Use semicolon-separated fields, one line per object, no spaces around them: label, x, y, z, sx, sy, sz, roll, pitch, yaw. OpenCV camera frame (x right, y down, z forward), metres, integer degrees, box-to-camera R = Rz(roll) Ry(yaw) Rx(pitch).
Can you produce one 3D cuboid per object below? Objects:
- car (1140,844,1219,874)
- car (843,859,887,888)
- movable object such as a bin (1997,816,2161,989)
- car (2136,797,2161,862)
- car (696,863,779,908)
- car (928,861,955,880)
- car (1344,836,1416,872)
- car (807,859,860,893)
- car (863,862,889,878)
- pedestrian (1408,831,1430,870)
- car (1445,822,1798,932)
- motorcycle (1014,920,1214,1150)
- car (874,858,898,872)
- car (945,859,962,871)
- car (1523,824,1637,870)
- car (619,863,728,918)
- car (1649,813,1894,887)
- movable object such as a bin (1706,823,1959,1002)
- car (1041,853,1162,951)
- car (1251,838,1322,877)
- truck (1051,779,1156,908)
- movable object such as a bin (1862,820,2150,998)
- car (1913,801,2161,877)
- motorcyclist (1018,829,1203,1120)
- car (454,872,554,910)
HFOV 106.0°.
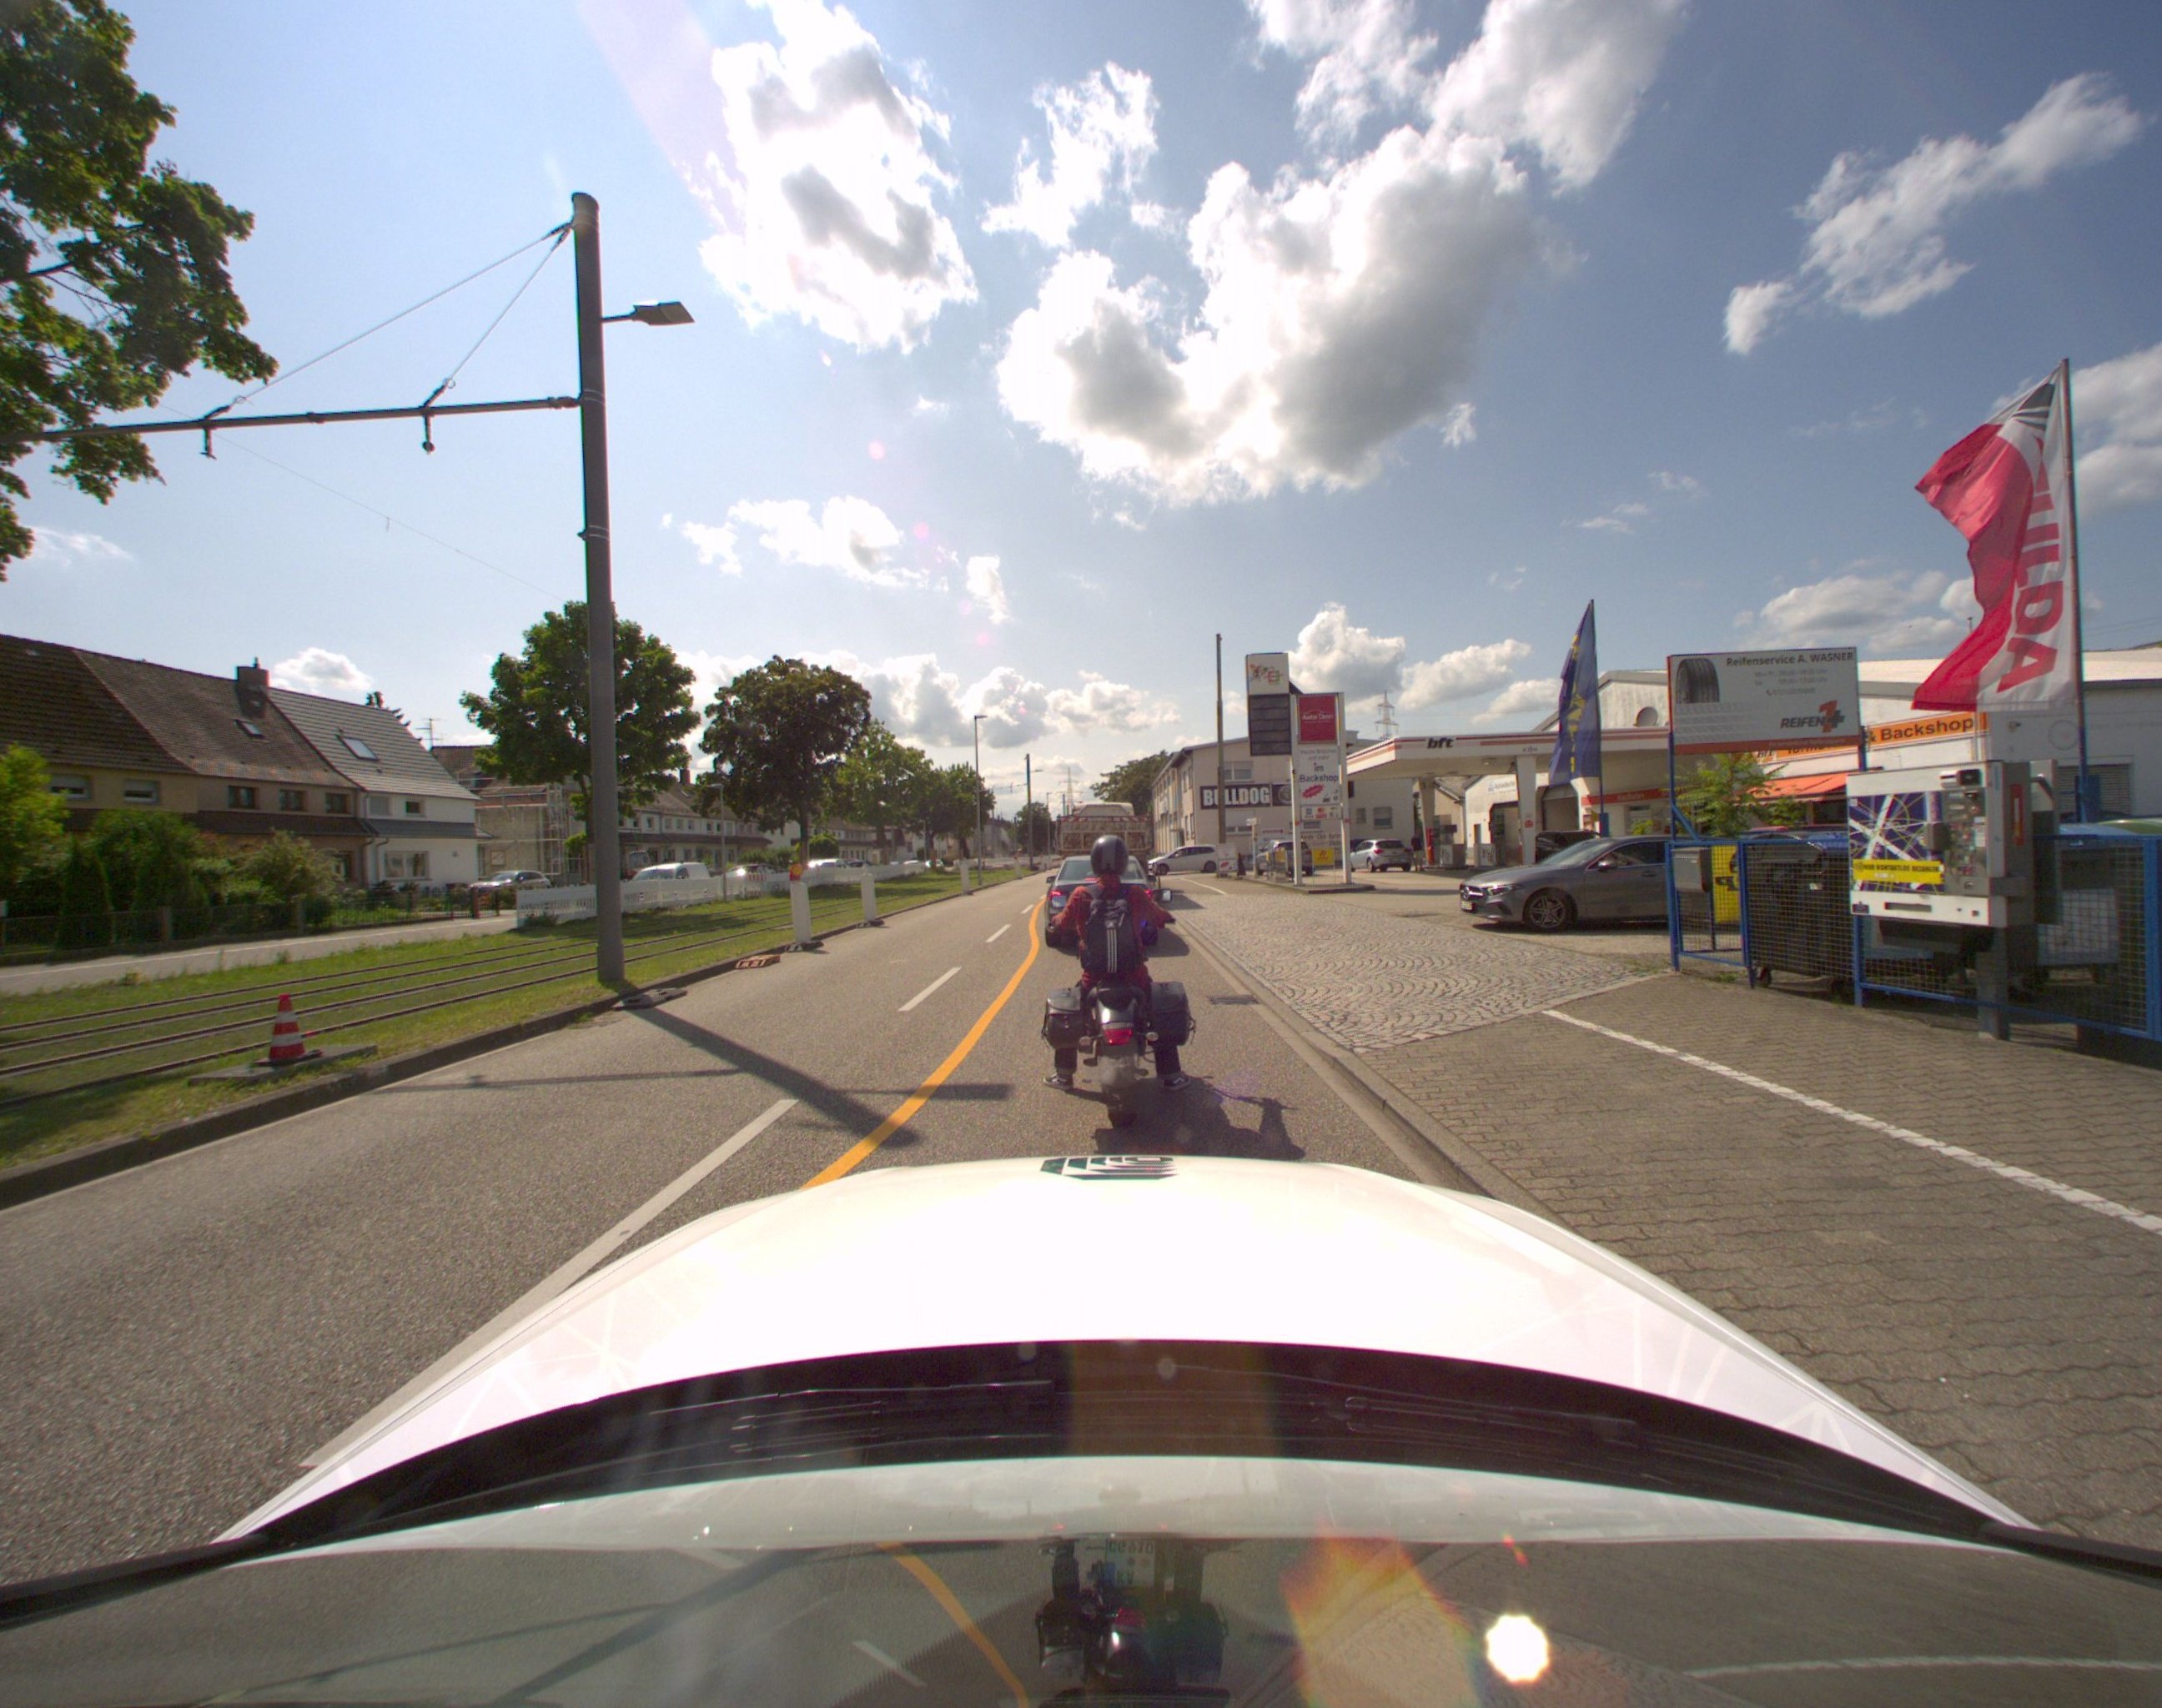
car;5.672;0.292;47.056;4.225;1.543;1.669;-2;0;-7
car;-14.803;1.336;56.036;1.769;1.805;4.130;-2;0;2
movable object such as a bin;9.490;0.375;7.130;1.397;1.396;1.338;-2;0;1
car;26.529;-0.637;18.002;4.180;1.463;1.587;-2;0;2
car;-15.407;1.355;36.797;1.769;1.774;4.230;-2;0;2
car;-13.728;1.632;80.453;1.769;1.722;4.130;-2;0;2
car;13.479;-0.009;36.919;1.800;1.503;3.832;-2;0;-1
car;-15.062;1.329;49.859;1.769;1.867;4.130;-2;0;2
car;-24.389;1.839;97.040;1.769;1.722;4.130;-2;0;2
pedestrian;14.654;-0.132;35.318;0.701;1.656;0.551;-2;0;37
car;8.158;0.339;12.624;4.252;1.415;1.676;-2;0;5
motorcycle;0.208;1.026;5.444;0.975;0.897;2.654;-2;0;2
car;-25.161;1.402;105.201;1.769;1.722;4.130;-2;0;2
car;-19.636;1.634;125.915;1.769;1.722;4.130;-2;0;2
car;18.122;-0.248;29.784;1.800;1.503;3.833;-2;0;0
car;-15.451;1.318;31.154;1.769;1.821;4.366;-2;0;2
car;15.777;-0.089;18.757;4.180;1.463;1.587;-2;0;2
movable object such as a bin;6.693;0.479;7.358;1.104;1.436;1.244;-2;0;1
car;0.371;0.724;14.235;1.816;1.452;4.002;0;0;2
car;9.119;0.150;36.452;1.665;1.562;4.235;-2;0;-6
truck;0.730;-0.287;25.499;2.628;3.296;8.059;-2;0;2
movable object such as a bin;8.087;0.445;7.218;1.104;1.396;1.244;-2;0;1
car;21.525;-0.341;18.165;4.180;1.463;1.587;-2;0;2
motorcyclist;0.184;0.677;5.140;0.975;1.602;1.088;-2;0;1
car;-27.435;1.728;38.892;1.769;1.519;4.002;-2;0;2
